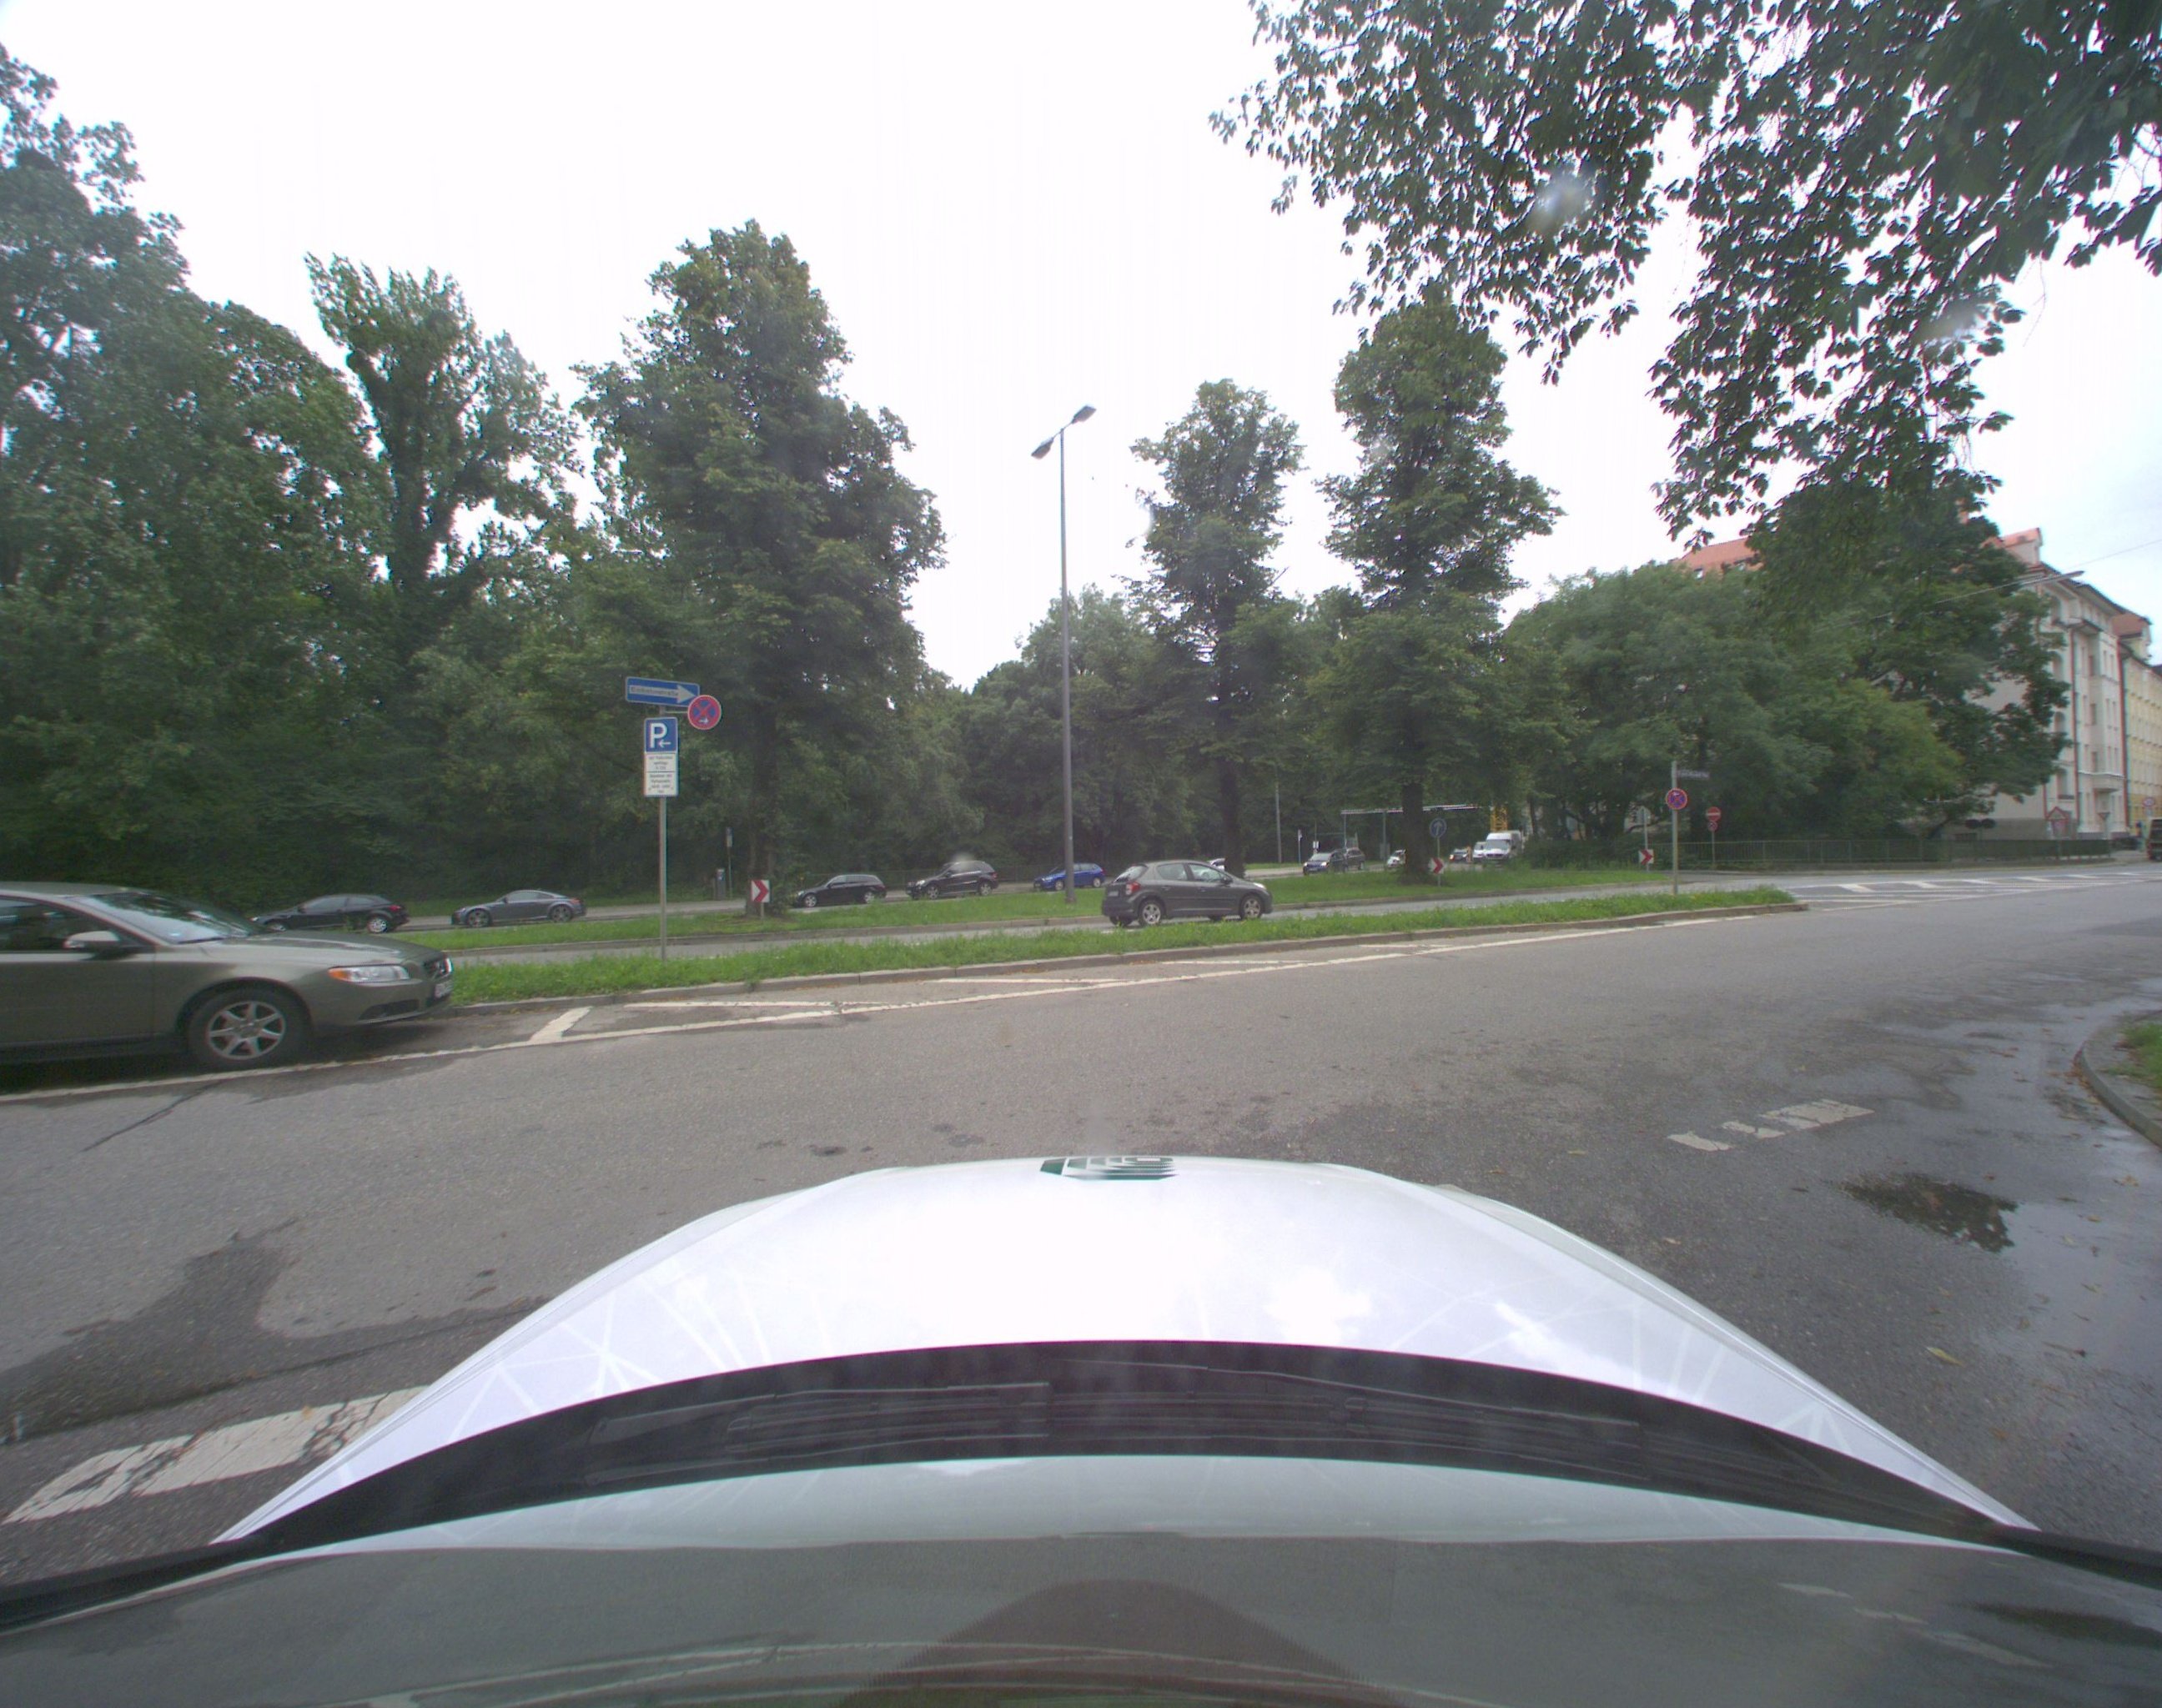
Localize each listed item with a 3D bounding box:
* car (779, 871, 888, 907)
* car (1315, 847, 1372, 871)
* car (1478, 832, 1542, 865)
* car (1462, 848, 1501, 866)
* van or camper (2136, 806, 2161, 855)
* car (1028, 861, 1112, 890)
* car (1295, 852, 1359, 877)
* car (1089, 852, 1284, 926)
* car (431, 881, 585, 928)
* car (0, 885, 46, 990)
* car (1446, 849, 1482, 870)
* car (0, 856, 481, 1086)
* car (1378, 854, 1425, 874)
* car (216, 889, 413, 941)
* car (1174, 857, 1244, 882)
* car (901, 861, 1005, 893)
[{"bbox_3d":[-11.288,1.569,37.247,4.339,1.446,1.977,-1,-2,-39],"label":"car"},{"bbox_3d":[20.495,0.389,63.506,4.672,1.718,1.977,-1,-2,-39],"label":"car"},{"bbox_3d":[31.680,-0.429,60.075,5.154,2.270,2.281,-1,-1,-39],"label":"car"},{"bbox_3d":[35.140,0.235,71.419,1.873,1.446,4.325,-2,-1,43],"label":"car"},{"bbox_3d":[65.850,-1.517,48.675,6.205,2.840,2.583,-2,0,-31],"label":"van or camper"},{"bbox_3d":[-0.587,1.207,45.592,4.446,1.446,1.977,-1,-2,-39],"label":"car"},{"bbox_3d":[15.491,0.670,51.214,4.054,1.446,1.875,-1,-1,-40],"label":"car"},{"bbox_3d":[2.395,0.750,18.577,4.078,1.461,1.751,-1,-1,-23],"label":"car"},{"bbox_3d":[-21.101,1.826,30.242,4.541,1.446,1.979,-1,-2,-32],"label":"car"},{"bbox_3d":[-17.274,1.221,10.318,4.739,1.454,1.978,-1,-1,-23],"label":"car"},{"bbox_3d":[37.727,0.535,80.119,4.022,1.874,1.676,-1,-1,-42],"label":"car"},{"bbox_3d":[-8.007,0.860,6.552,4.775,1.565,1.890,-1,-1,-23],"label":"car"},{"bbox_3d":[24.605,0.741,62.449,1.810,1.446,4.262,-3,-2,43],"label":"car"},{"bbox_3d":[-25.709,2.006,27.590,4.541,1.446,1.979,-1,-2,-32],"label":"car"},{"bbox_3d":[8.322,0.971,52.628,4.446,1.446,1.977,-1,-2,-39],"label":"car"},{"bbox_3d":[-6.376,1.134,40.782,4.792,1.446,1.977,-1,-2,-39],"label":"car"}]
